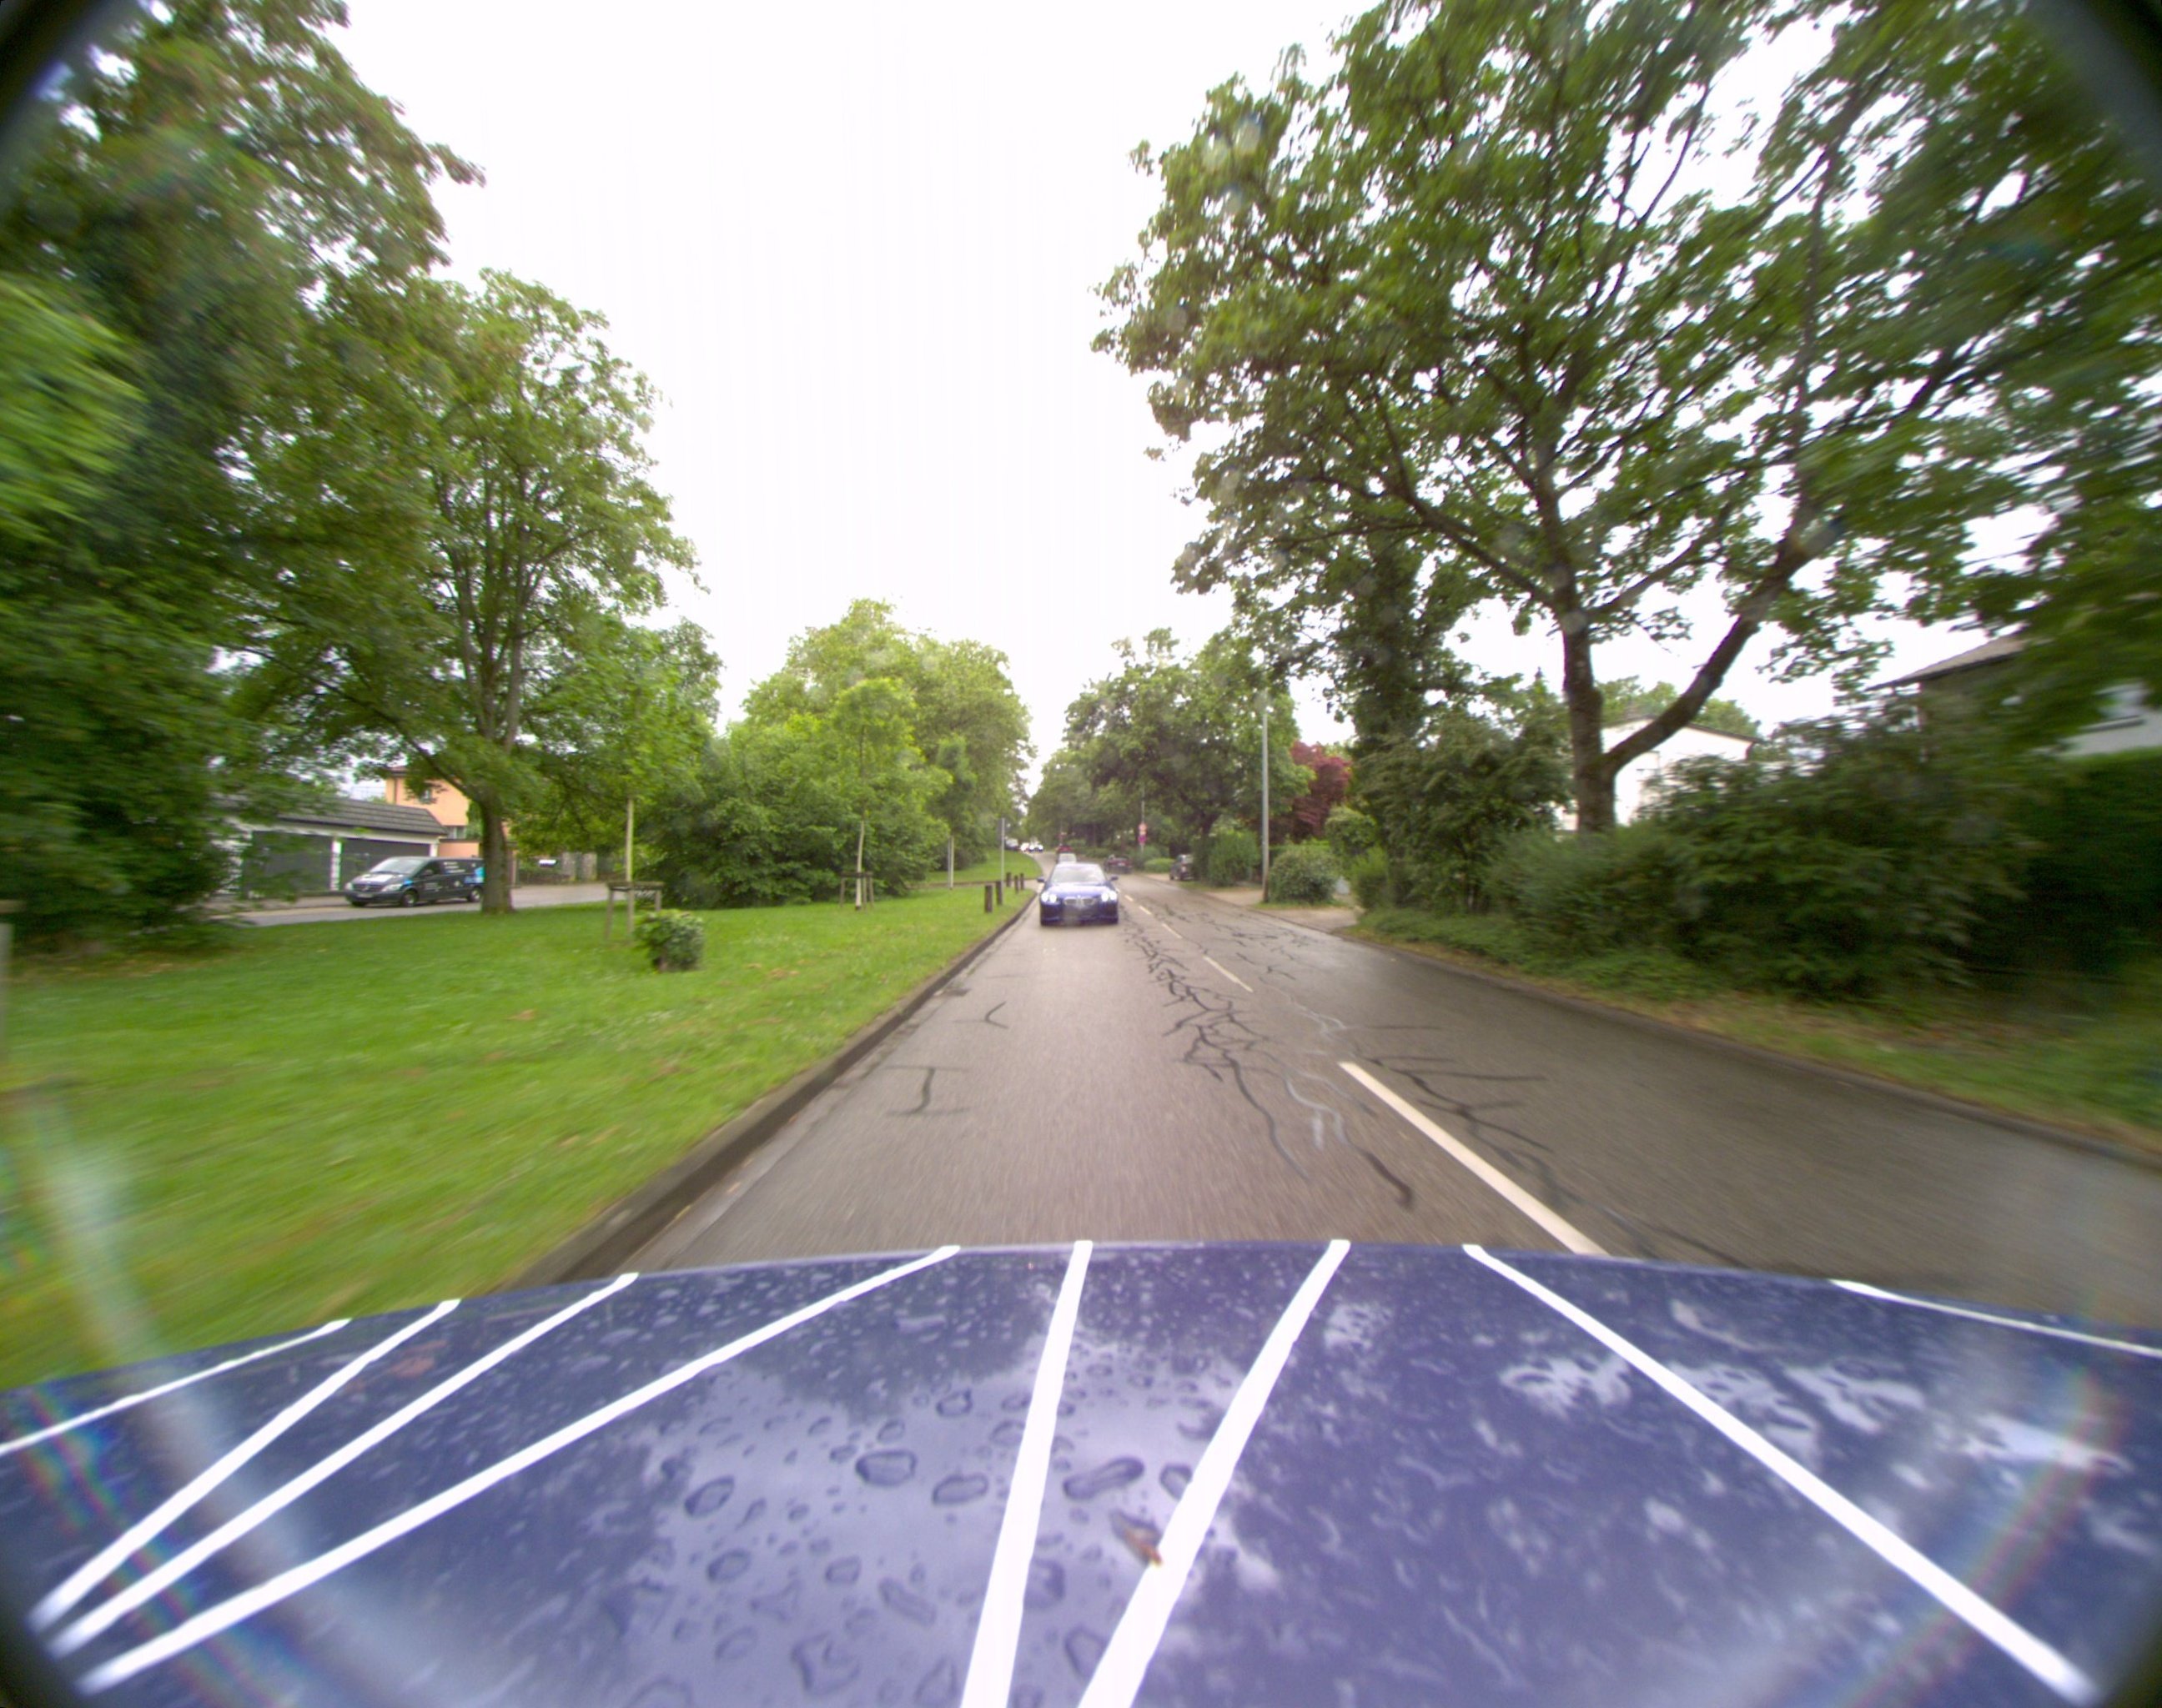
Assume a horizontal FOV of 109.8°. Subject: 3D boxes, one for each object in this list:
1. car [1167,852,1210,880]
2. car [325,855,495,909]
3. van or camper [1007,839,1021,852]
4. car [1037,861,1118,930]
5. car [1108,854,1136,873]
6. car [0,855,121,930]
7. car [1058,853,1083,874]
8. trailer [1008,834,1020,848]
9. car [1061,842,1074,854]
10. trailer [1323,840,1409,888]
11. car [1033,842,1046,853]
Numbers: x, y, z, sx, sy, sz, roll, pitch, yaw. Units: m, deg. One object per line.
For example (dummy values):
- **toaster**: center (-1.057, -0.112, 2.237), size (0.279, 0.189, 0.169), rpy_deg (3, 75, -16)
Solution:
- **car**: center (6.419, 0.688, 45.774), size (1.668, 1.533, 4.282), rpy_deg (-3, 1, -4)
- **car**: center (-25.442, 0.986, 29.124), size (2.165, 1.868, 5.068), rpy_deg (1, 0, -2)
- **van or camper**: center (-9.976, -1.282, 113.044), size (2.000, 1.858, 5.659), rpy_deg (1, 1, -7)
- **car**: center (0.012, 0.958, 19.373), size (1.796, 1.458, 4.510), rpy_deg (-2, 0, 2)
- **car**: center (3.036, 0.676, 57.645), size (1.759, 1.355, 4.324), rpy_deg (2, 0, -1)
- **car**: center (-24.866, 0.857, 16.939), size (1.907, 1.615, 4.034), rpy_deg (1, 0, -2)
- **car**: center (-0.770, 0.724, 55.926), size (1.796, 1.458, 4.510), rpy_deg (0, -1, -1)
- **trailer**: center (-10.357, -2.064, 117.878), size (1.702, 2.042, 3.948), rpy_deg (0, 2, -7)
- **car**: center (-1.848, -0.837, 104.903), size (1.694, 1.388, 4.488), rpy_deg (0, 3, -2)
- **trailer**: center (12.374, 0.438, 33.069), size (3.127, 1.788, 1.424), rpy_deg (5, -1, -6)
- **car**: center (-6.128, -0.963, 112.441), size (1.678, 1.542, 3.832), rpy_deg (1, 0, 1)
